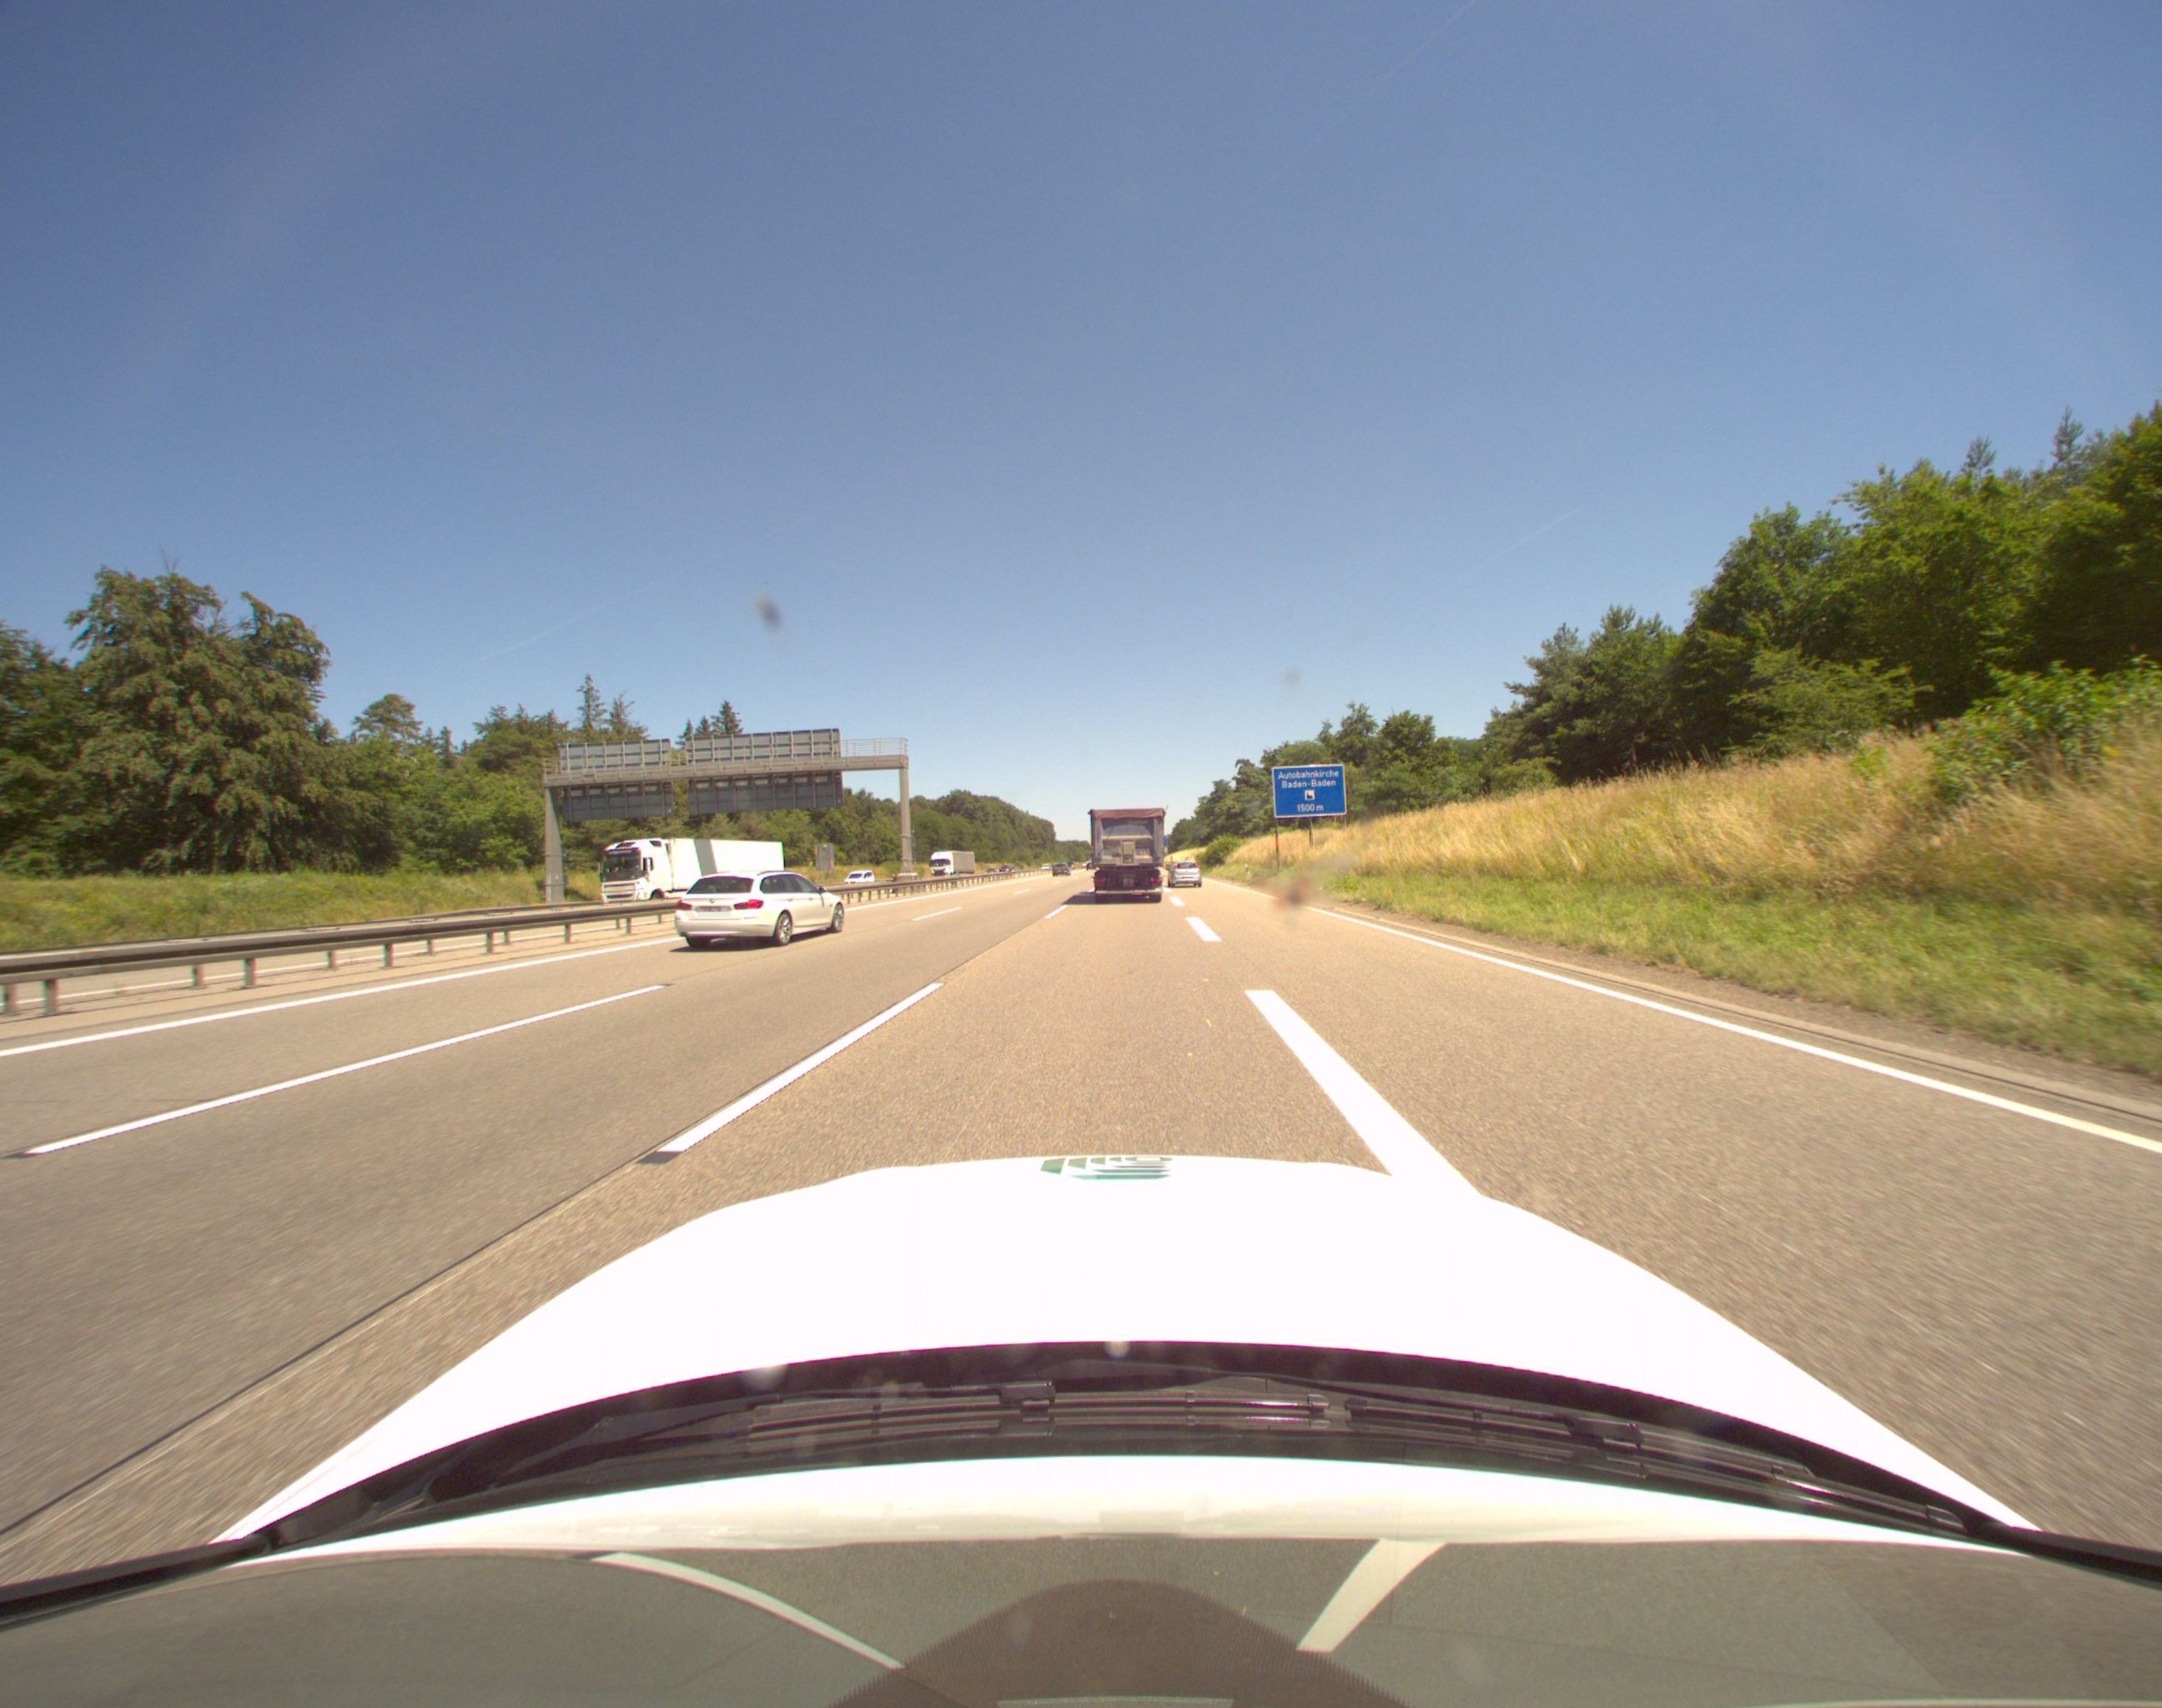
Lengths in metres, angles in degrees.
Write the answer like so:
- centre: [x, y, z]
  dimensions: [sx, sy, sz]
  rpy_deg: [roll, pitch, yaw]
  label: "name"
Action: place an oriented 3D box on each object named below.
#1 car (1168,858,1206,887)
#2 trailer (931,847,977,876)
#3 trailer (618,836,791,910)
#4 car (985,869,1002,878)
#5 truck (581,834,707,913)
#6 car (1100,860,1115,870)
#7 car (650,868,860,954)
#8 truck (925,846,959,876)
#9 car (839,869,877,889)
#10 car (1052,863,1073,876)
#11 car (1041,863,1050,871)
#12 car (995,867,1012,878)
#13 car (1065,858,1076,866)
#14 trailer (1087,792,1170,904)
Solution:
- centre: [5.840, 1.008, 45.242]
  dimensions: [1.713, 1.491, 3.739]
  rpy_deg: [-1, 0, 2]
  label: "car"
- centre: [-18.493, 1.118, 119.670]
  dimensions: [3.152, 3.931, 13.986]
  rpy_deg: [-1, -1, 6]
  label: "trailer"
- centre: [-23.567, 1.129, 52.574]
  dimensions: [3.198, 4.042, 14.383]
  rpy_deg: [-1, -1, 6]
  label: "trailer"
- centre: [-15.528, 3.422, 145.108]
  dimensions: [2.076, 1.463, 4.948]
  rpy_deg: [-3, -1, 4]
  label: "car"
- centre: [-24.257, 1.060, 45.609]
  dimensions: [3.198, 4.018, 6.225]
  rpy_deg: [-1, -1, 6]
  label: "truck"
- centre: [4.071, 1.611, 124.575]
  dimensions: [1.884, 1.469, 4.268]
  rpy_deg: [-1, 0, 6]
  label: "car"
- centre: [-6.601, 1.076, 17.322]
  dimensions: [1.955, 1.504, 5.410]
  rpy_deg: [-1, -1, 4]
  label: "car"
- centre: [-19.239, 1.017, 112.852]
  dimensions: [3.152, 3.931, 5.408]
  rpy_deg: [-1, -1, 6]
  label: "truck"
- centre: [-21.399, 2.388, 78.348]
  dimensions: [1.985, 1.750, 4.995]
  rpy_deg: [-1, -1, 4]
  label: "car"
- centre: [-2.051, 1.751, 92.406]
  dimensions: [1.824, 1.431, 5.005]
  rpy_deg: [-1, 0, 4]
  label: "car"
- centre: [-9.698, 3.554, 224.163]
  dimensions: [1.985, 1.828, 4.647]
  rpy_deg: [-4, -1, 4]
  label: "car"
- centre: [-12.326, 2.952, 129.551]
  dimensions: [1.838, 1.610, 4.926]
  rpy_deg: [-1, -1, 4]
  label: "car"
- centre: [-2.586, 1.997, 208.773]
  dimensions: [2.269, 1.940, 4.948]
  rpy_deg: [-3, -1, 4]
  label: "car"
- centre: [1.876, -0.194, 32.377]
  dimensions: [2.725, 3.758, 9.116]
  rpy_deg: [-2, 0, 3]
  label: "trailer"
